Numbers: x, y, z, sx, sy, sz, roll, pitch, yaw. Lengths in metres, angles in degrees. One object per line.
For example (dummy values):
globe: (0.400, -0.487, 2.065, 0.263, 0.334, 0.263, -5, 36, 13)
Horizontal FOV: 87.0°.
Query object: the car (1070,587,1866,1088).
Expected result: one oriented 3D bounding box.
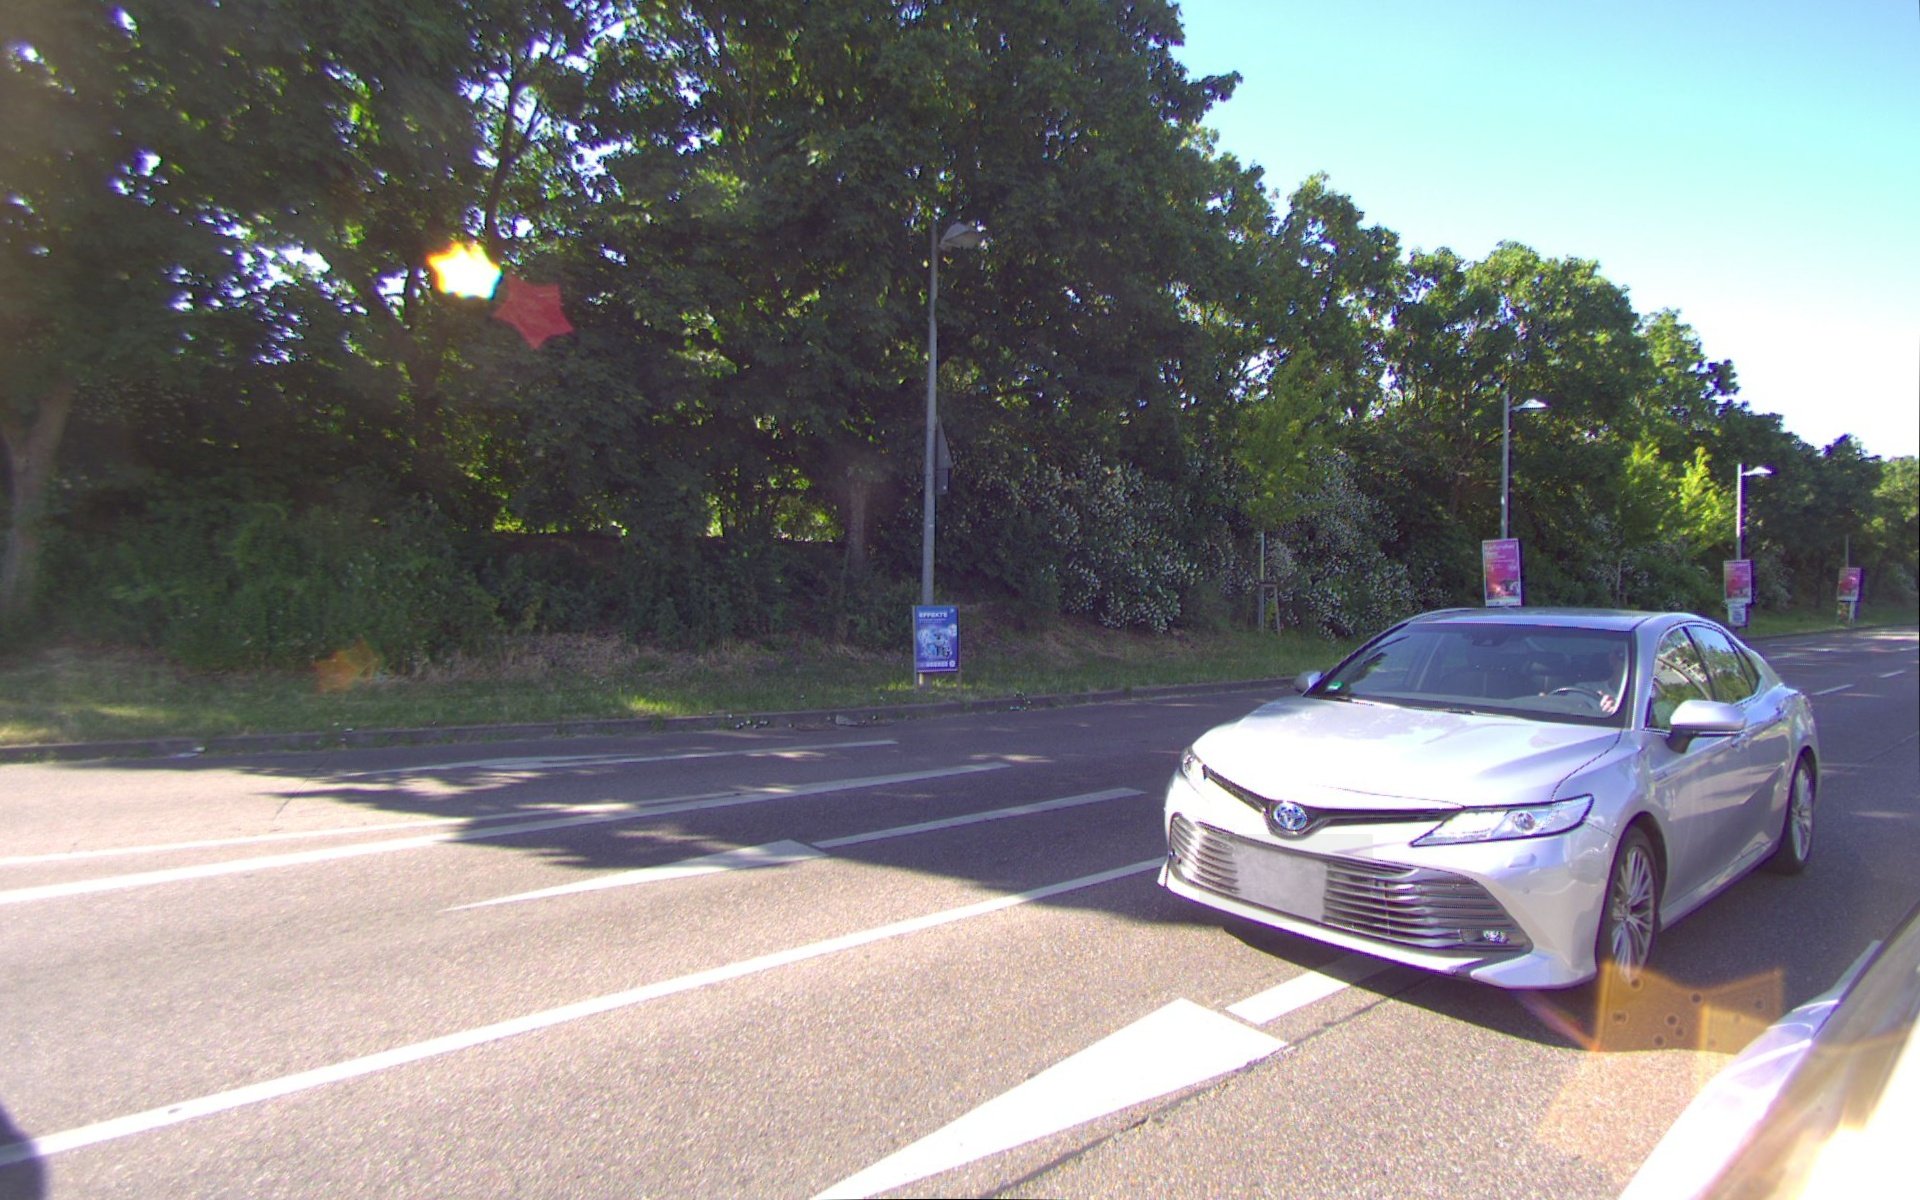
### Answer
car: (2.958, 0.700, 5.354, 4.664, 1.477, 2.069, 0, 2, -40)
